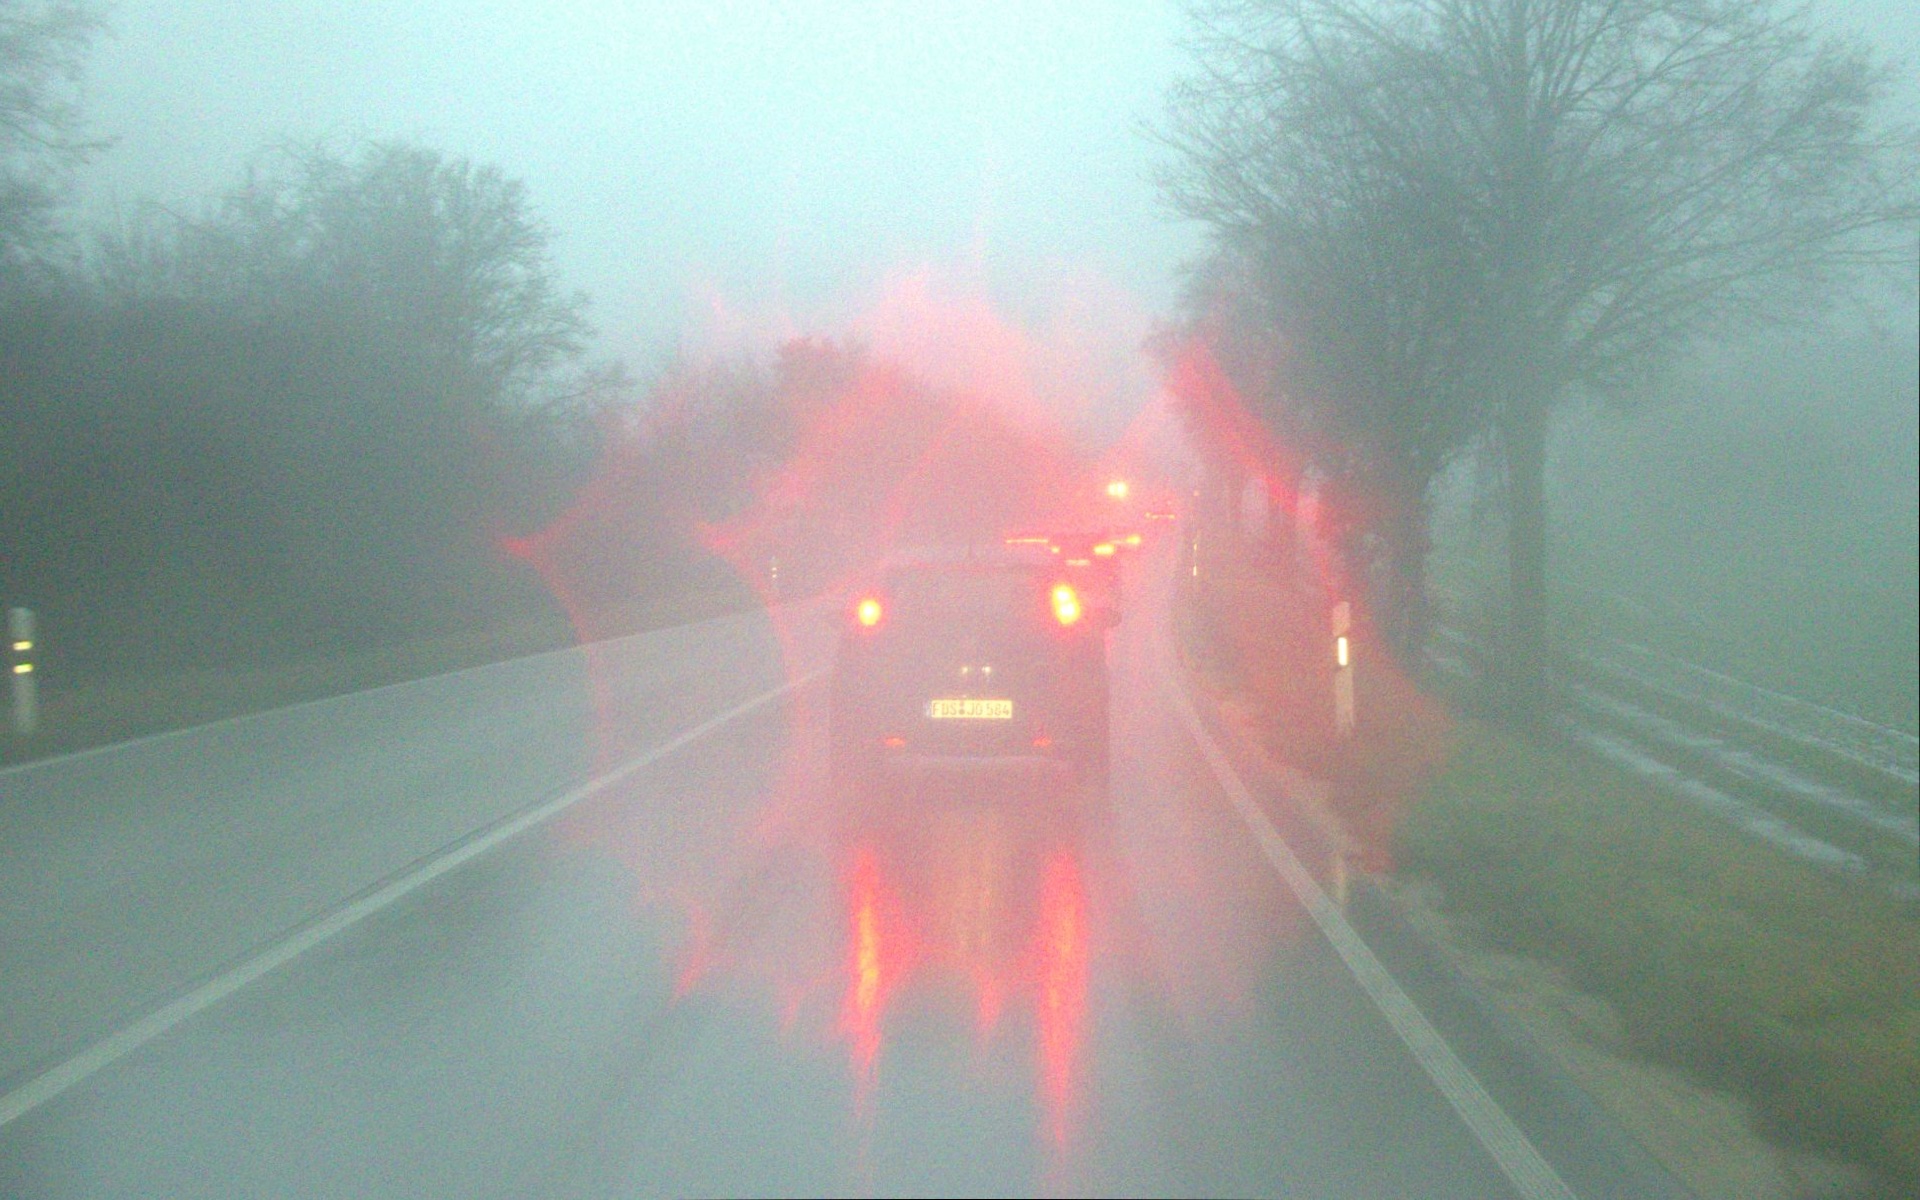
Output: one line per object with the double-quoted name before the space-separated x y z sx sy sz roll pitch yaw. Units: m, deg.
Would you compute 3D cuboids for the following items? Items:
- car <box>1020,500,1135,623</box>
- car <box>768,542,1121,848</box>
"car" 2.539 -0.862 73.391 1.994 2.006 4.001 6 8 5
"car" 0.001 0.532 22.390 1.994 1.746 4.000 0 2 4
